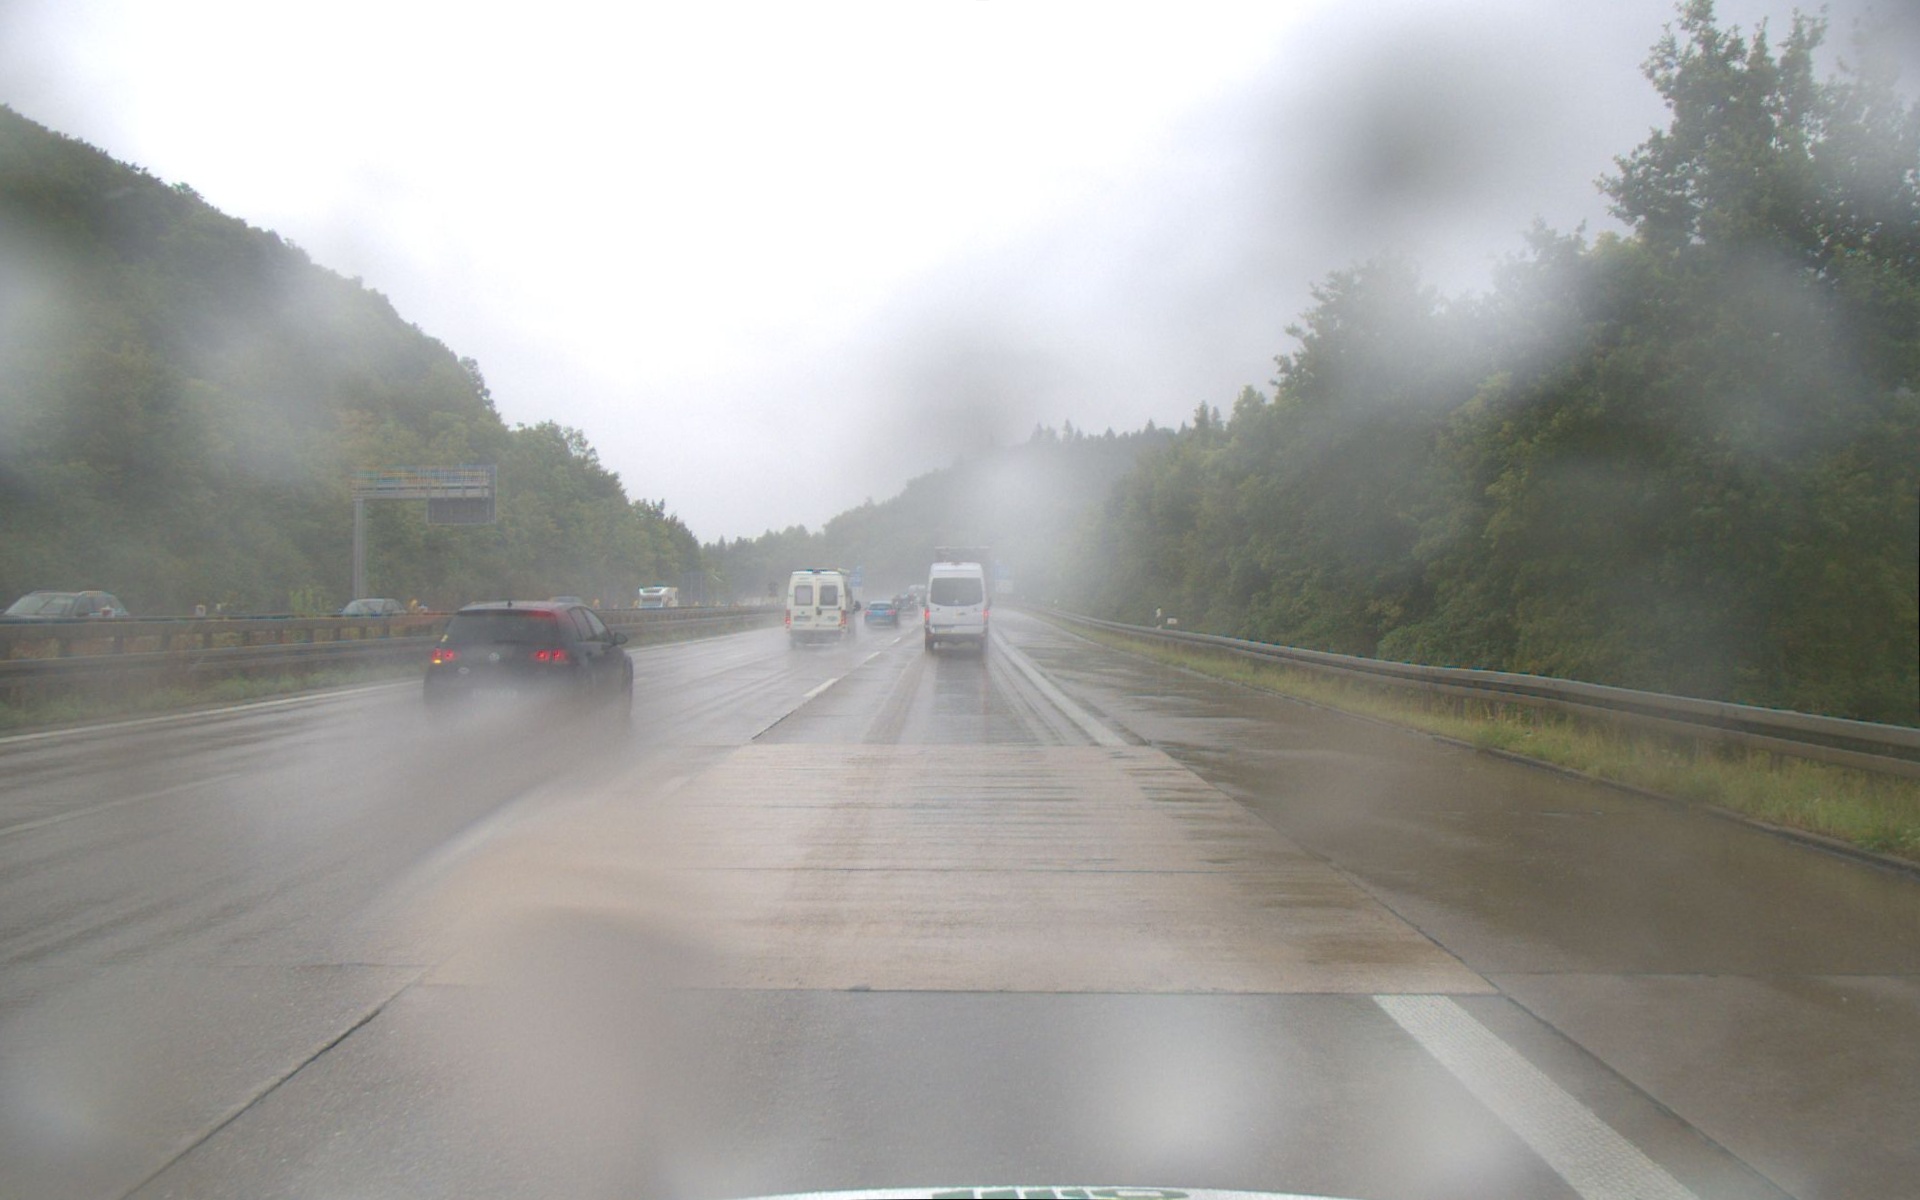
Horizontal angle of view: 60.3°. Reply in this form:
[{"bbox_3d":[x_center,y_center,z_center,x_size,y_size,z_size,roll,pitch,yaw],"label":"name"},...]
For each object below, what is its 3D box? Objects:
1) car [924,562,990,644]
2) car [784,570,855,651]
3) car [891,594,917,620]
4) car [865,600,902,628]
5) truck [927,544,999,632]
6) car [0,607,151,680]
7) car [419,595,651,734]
[{"bbox_3d":[-0.139,0.095,51.440,1.861,2.374,5.249,2,0,-2],"label":"car"},{"bbox_3d":[-4.584,0.327,54.643,1.957,2.474,5.788,2,0,-2],"label":"car"},{"bbox_3d":[-4.168,0.537,123.559,1.831,1.841,4.187,2,0,-2],"label":"car"},{"bbox_3d":[-4.010,0.700,86.496,1.819,1.362,4.348,2,0,-4],"label":"car"},{"bbox_3d":[0.077,-0.714,81.246,3.316,4.037,8.666,-1,2,-1],"label":"truck"},{"bbox_3d":[-21.499,1.018,40.327,1.762,1.691,3.997,0,0,-3],"label":"car"},{"bbox_3d":[-4.811,0.687,19.319,1.705,1.412,4.319,-1,0,-2],"label":"car"}]
